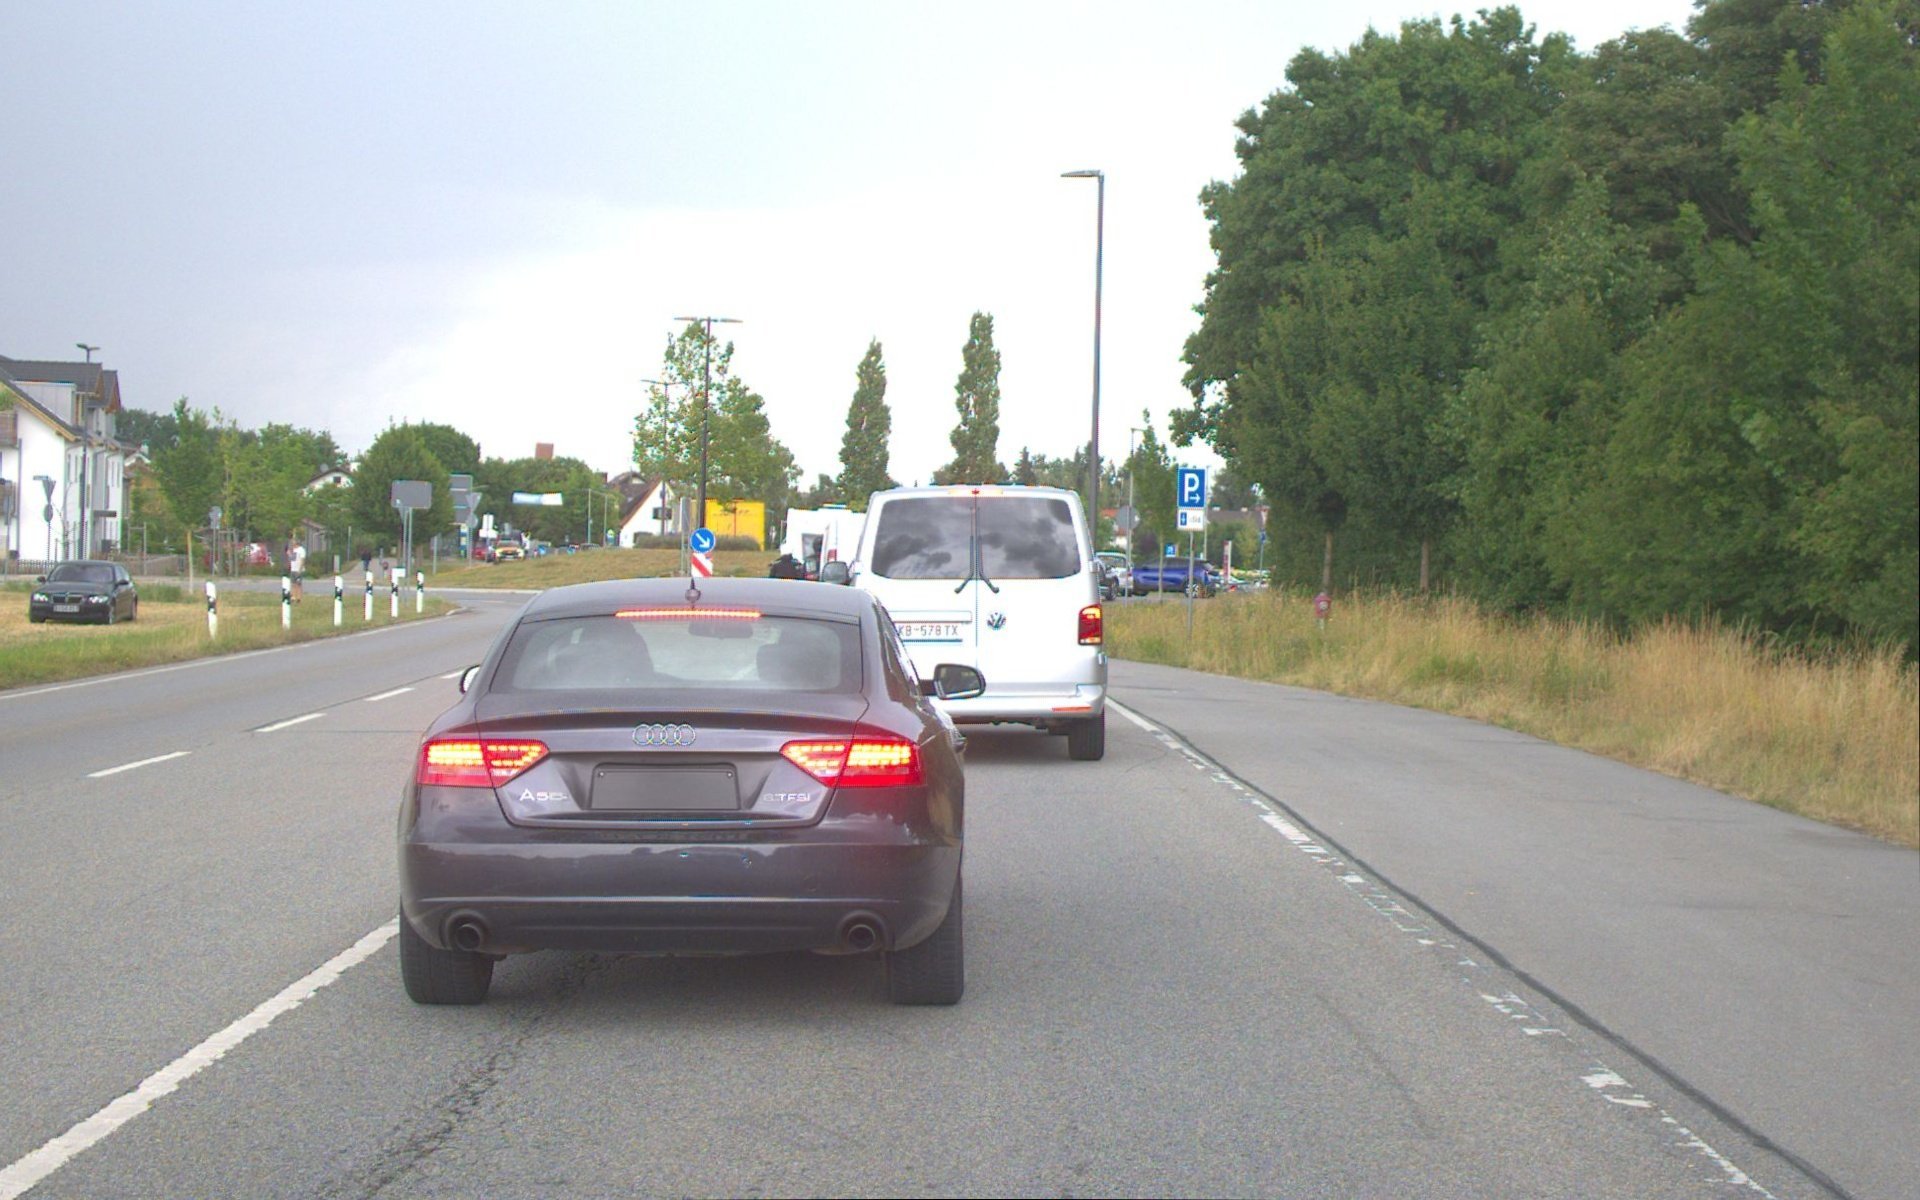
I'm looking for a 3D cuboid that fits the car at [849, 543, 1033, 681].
[{"bbox_3d":[-0.222,0.111,39.759,1.993,1.480,4.000,1,1,0],"label":"car"}]

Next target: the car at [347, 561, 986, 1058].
[{"bbox_3d":[-0.905,0.598,12.258,1.875,1.449,4.177,1,1,-1],"label":"car"}]

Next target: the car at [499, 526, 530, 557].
[{"bbox_3d":[-30.205,-3.970,233.024,1.993,2.007,4.001,2,1,-7],"label":"car"}]

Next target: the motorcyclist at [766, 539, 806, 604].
[{"bbox_3d":[-3.652,-0.604,72.226,0.785,1.352,0.854,1,1,-1],"label":"motorcyclist"}]

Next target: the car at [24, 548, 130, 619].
[{"bbox_3d":[-19.413,-0.384,75.716,1.993,1.437,4.001,1,2,-11],"label":"car"}]

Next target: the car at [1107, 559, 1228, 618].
[{"bbox_3d":[7.638,-0.419,126.332,3.991,2.007,1.998,2,1,20],"label":"car"}]

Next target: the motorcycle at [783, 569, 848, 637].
[{"bbox_3d":[-2.447,0.039,58.311,0.920,1.090,2.188,1,1,2],"label":"motorcycle"}]

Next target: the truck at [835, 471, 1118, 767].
[{"bbox_3d":[0.128,0.090,25.917,1.904,1.991,4.628,1,1,0],"label":"truck"}]

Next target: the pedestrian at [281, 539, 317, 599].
[{"bbox_3d":[-17.721,-0.838,92.223,0.701,1.580,0.657,1,1,17],"label":"pedestrian"}]

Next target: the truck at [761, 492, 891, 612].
[{"bbox_3d":[-3.297,-1.166,83.356,2.626,2.728,5.868,2,1,-7],"label":"truck"}]

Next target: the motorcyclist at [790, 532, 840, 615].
[{"bbox_3d":[-2.451,-0.445,58.208,0.772,1.379,0.820,1,1,1],"label":"motorcyclist"}]

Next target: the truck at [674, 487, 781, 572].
[{"bbox_3d":[-10.548,-3.205,154.989,3.575,3.566,9.959,2,1,-11],"label":"truck"}]

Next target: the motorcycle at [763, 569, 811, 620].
[{"bbox_3d":[-3.619,-0.126,72.198,0.944,1.016,2.284,1,1,-2],"label":"motorcycle"}]

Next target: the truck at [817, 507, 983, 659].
[{"bbox_3d":[-0.796,-0.258,48.846,2.194,2.007,5.085,1,1,0],"label":"truck"}]

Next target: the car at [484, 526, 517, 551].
[{"bbox_3d":[-32.131,-4.302,240.548,1.993,1.636,4.001,2,1,-4],"label":"car"}]
